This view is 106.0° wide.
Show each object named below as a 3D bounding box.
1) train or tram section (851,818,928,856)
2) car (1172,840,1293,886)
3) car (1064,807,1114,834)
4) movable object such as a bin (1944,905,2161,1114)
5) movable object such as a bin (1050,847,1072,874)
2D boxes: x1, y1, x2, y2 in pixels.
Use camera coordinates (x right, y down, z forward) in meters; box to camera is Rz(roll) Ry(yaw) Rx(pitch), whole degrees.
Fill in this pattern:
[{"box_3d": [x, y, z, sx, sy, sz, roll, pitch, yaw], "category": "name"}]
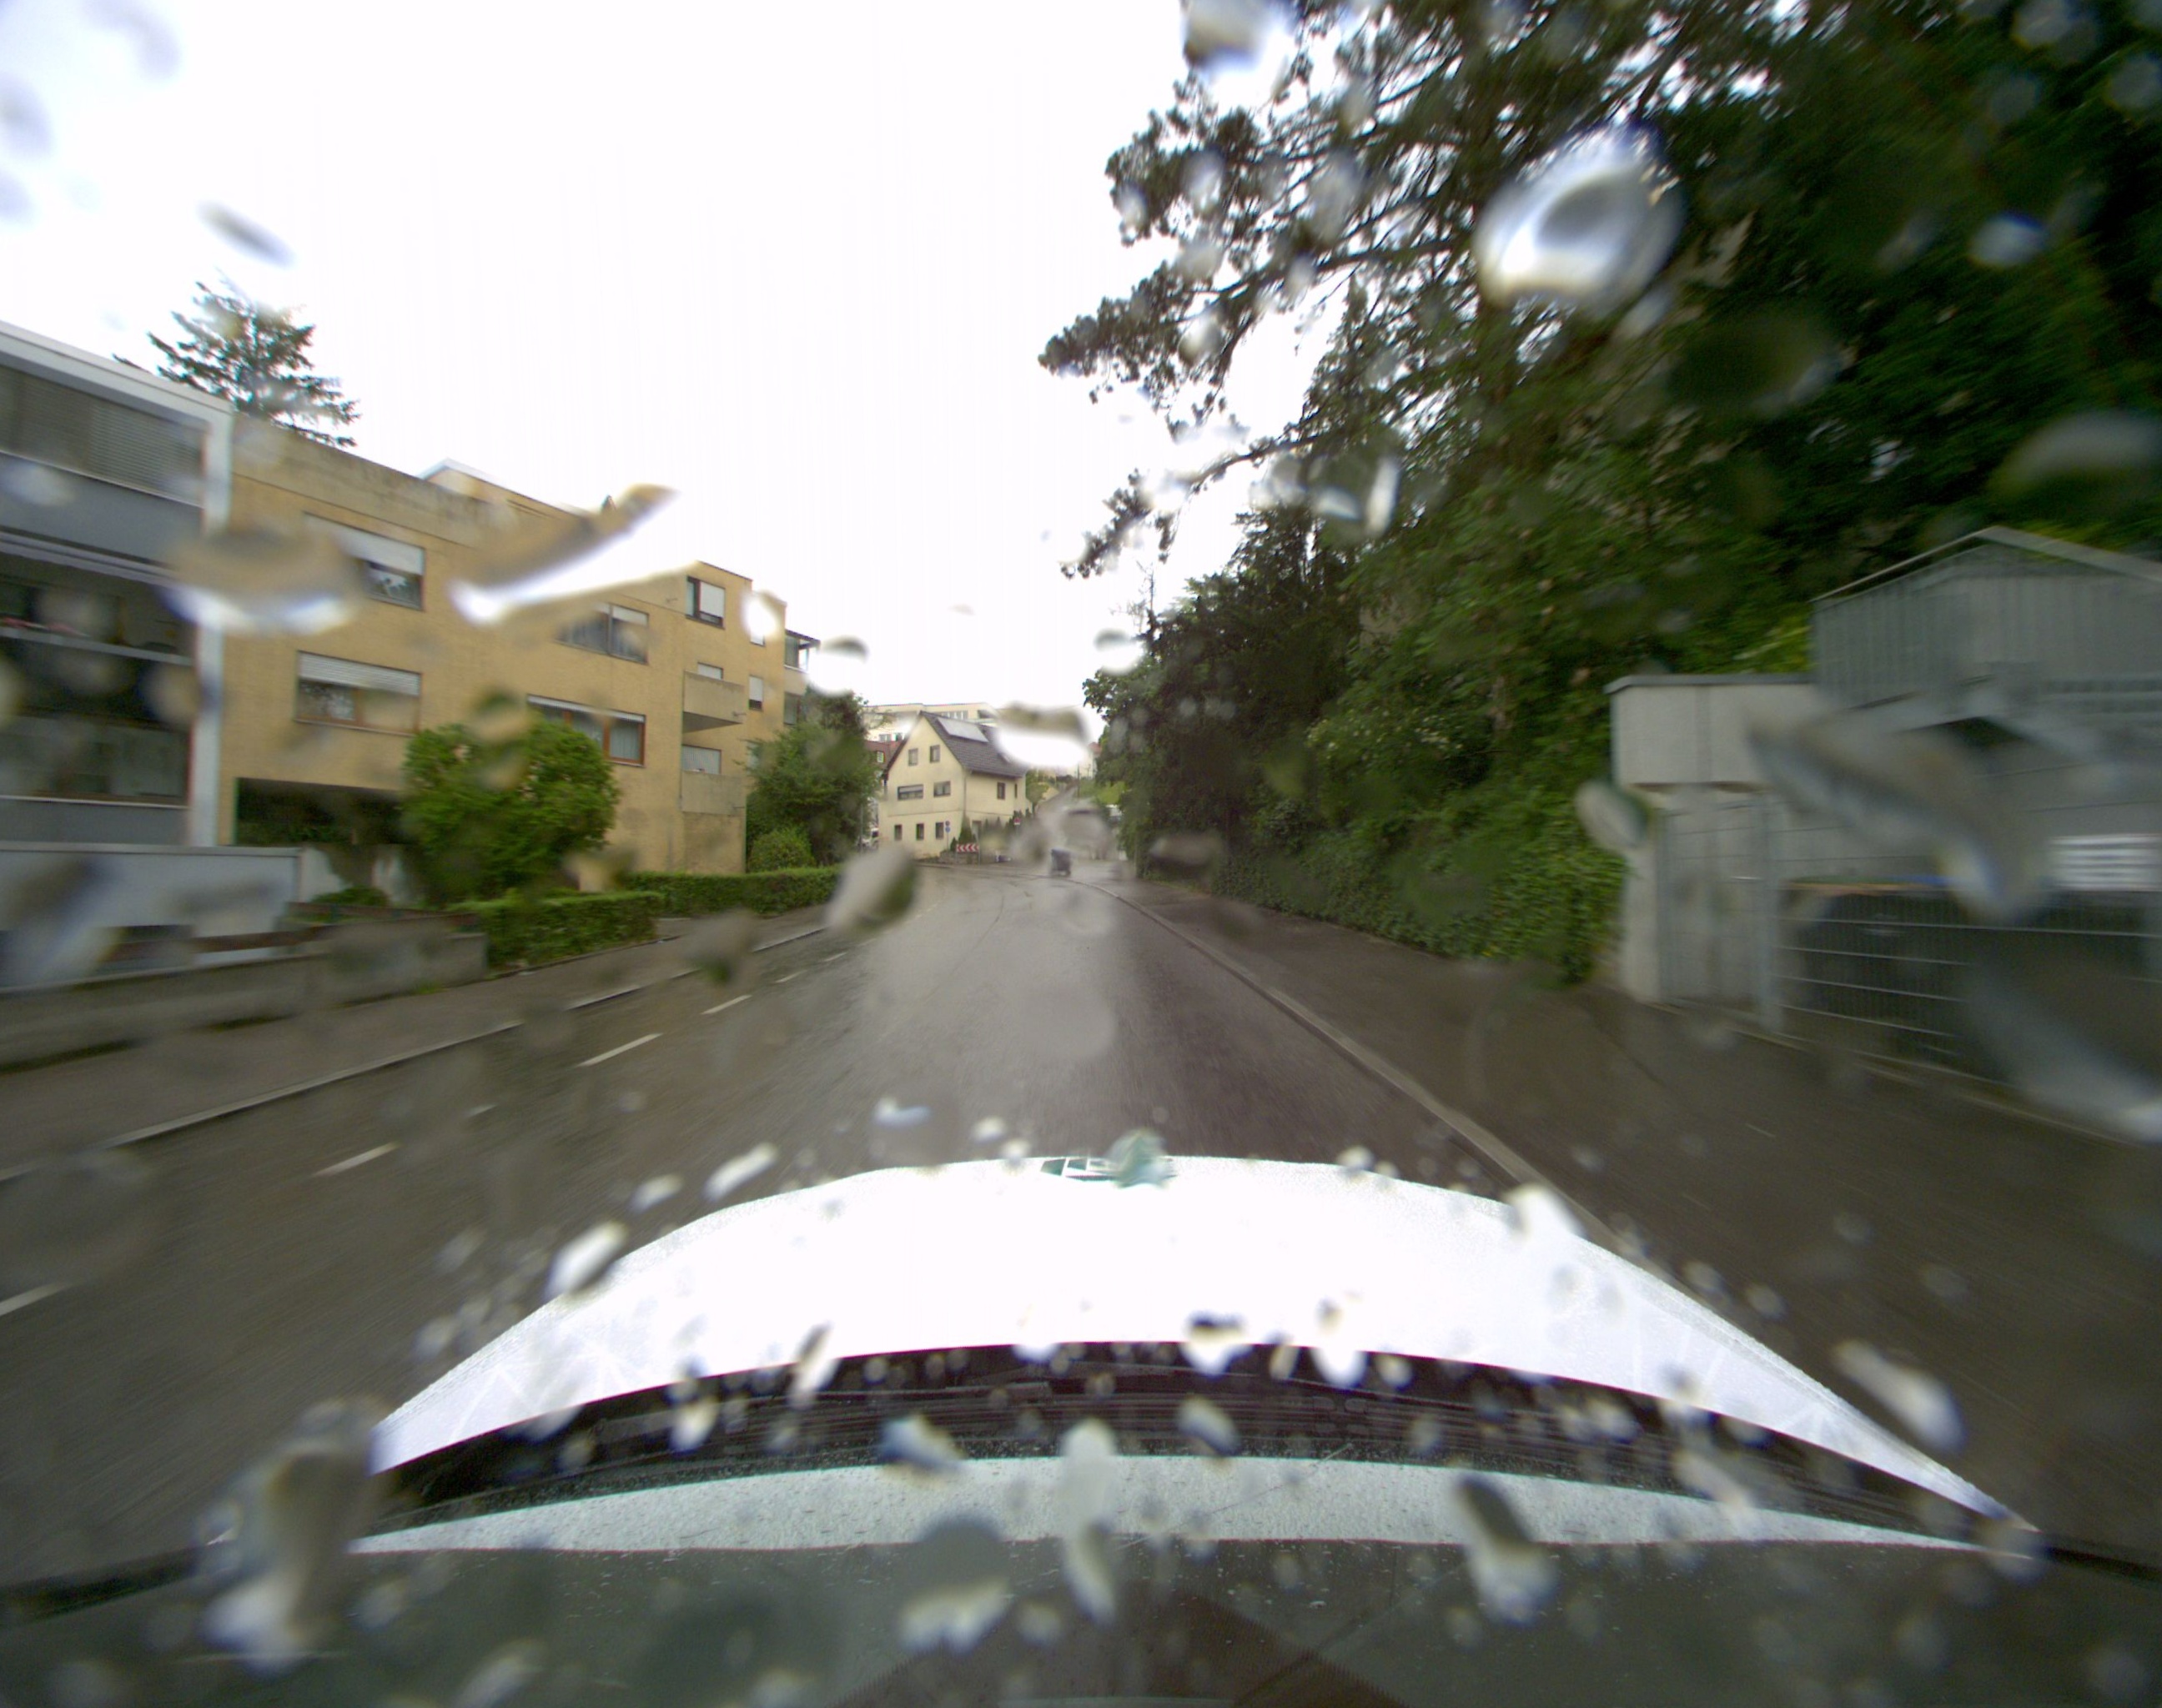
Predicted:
[{"box_3d": [-16.863, -1.492, 72.271, 2.335, 3.203, 6.914, 0, 1, 33], "category": "train or tram section"}, {"box_3d": [5.668, 0.318, 30.772, 4.133, 1.476, 1.903, -3, 1, -3], "category": "car"}, {"box_3d": [0.796, -3.456, 85.106, 4.942, 2.569, 1.898, -3, 0, -9], "category": "car"}, {"box_3d": [5.395, 0.775, 4.304, 0.871, 0.941, 0.746, -1, 0, 0], "category": "movable object such as a bin"}, {"box_3d": [-1.072, 0.321, 43.992, 1.078, 1.442, 1.458, 0, 0, 1], "category": "movable object such as a bin"}]
